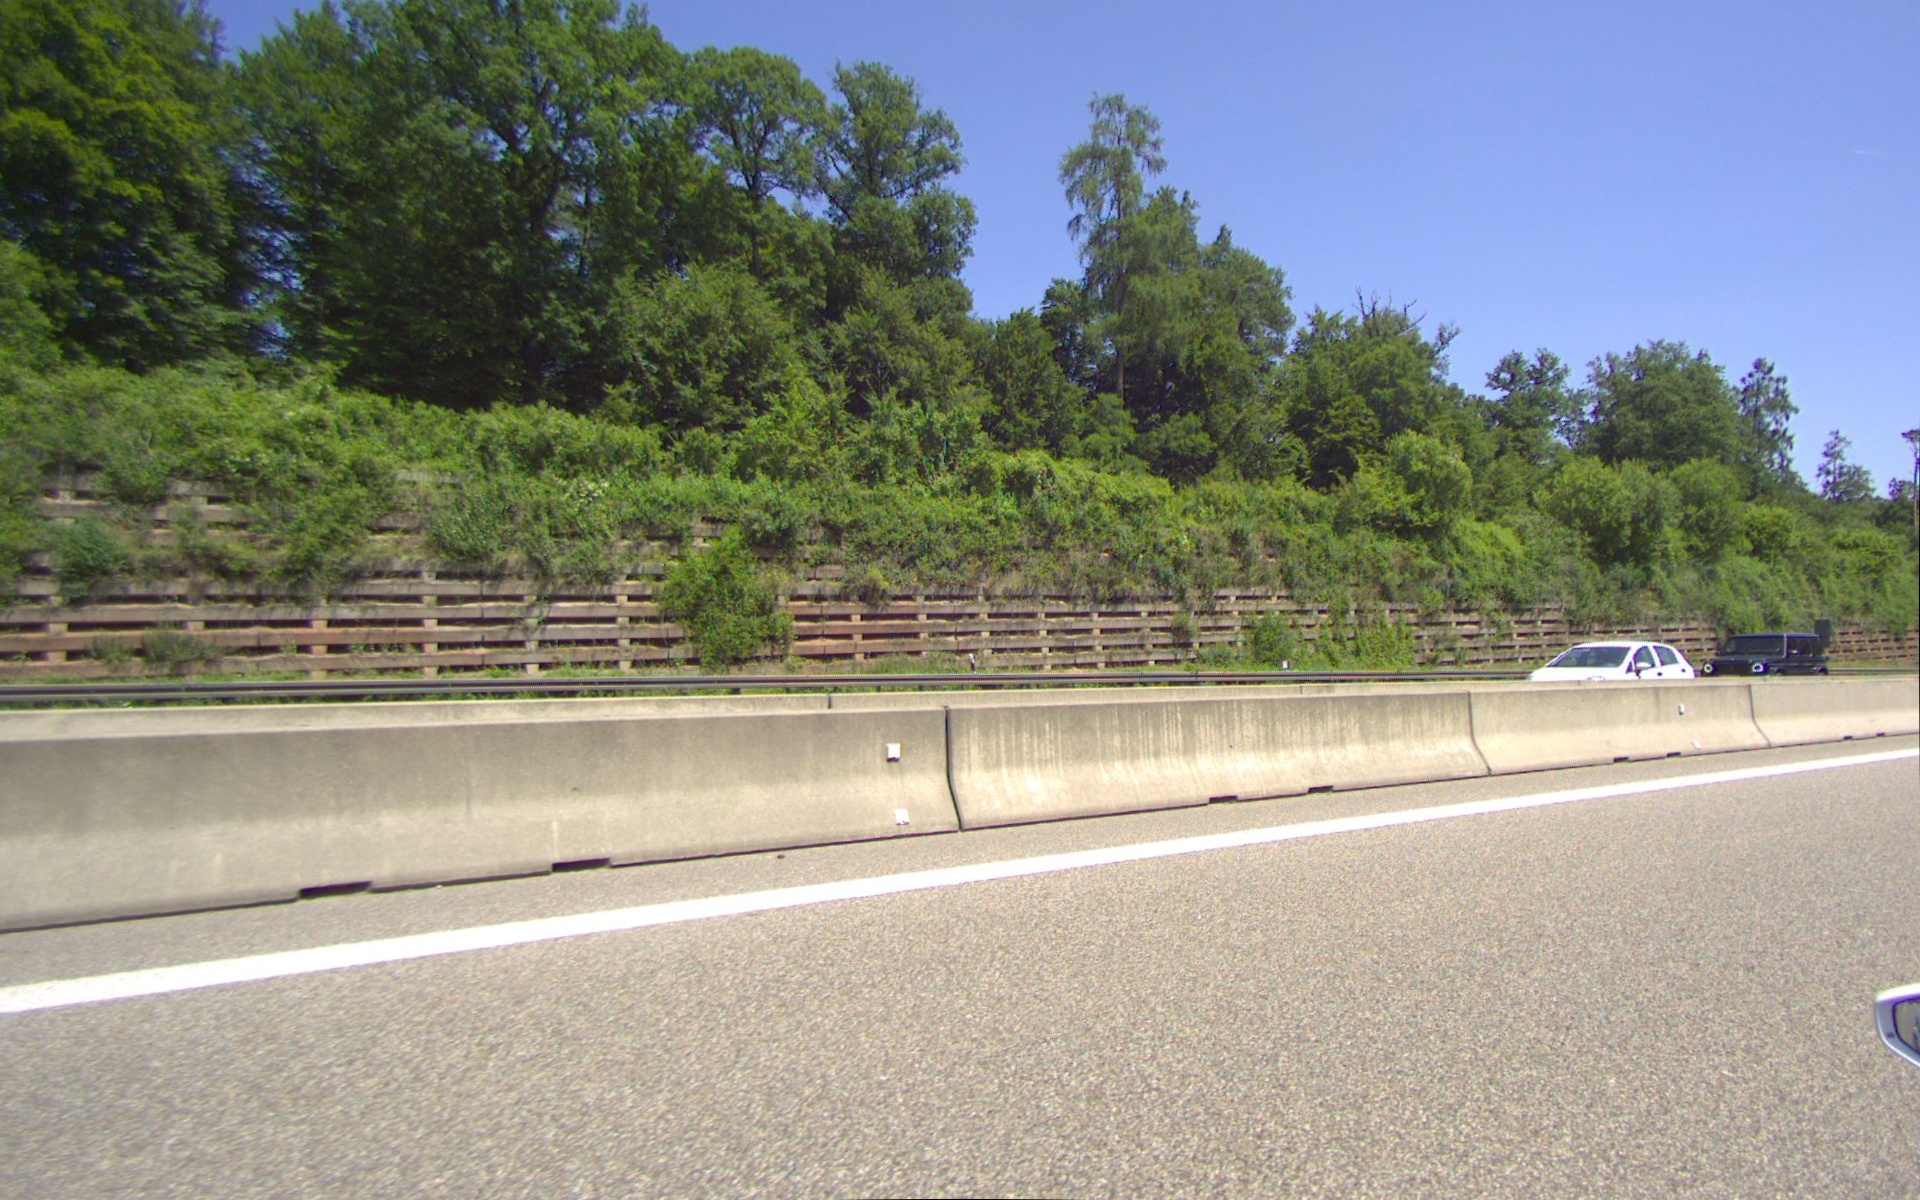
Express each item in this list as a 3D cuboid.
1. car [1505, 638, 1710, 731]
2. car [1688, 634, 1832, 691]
[{"bbox_3d":[12.598,1.566,19.507,4.011,1.626,1.738,1,-3,-31],"label":"car"},{"bbox_3d":[24.562,1.880,30.802,4.602,1.626,1.931,1,-3,-31],"label":"car"}]
